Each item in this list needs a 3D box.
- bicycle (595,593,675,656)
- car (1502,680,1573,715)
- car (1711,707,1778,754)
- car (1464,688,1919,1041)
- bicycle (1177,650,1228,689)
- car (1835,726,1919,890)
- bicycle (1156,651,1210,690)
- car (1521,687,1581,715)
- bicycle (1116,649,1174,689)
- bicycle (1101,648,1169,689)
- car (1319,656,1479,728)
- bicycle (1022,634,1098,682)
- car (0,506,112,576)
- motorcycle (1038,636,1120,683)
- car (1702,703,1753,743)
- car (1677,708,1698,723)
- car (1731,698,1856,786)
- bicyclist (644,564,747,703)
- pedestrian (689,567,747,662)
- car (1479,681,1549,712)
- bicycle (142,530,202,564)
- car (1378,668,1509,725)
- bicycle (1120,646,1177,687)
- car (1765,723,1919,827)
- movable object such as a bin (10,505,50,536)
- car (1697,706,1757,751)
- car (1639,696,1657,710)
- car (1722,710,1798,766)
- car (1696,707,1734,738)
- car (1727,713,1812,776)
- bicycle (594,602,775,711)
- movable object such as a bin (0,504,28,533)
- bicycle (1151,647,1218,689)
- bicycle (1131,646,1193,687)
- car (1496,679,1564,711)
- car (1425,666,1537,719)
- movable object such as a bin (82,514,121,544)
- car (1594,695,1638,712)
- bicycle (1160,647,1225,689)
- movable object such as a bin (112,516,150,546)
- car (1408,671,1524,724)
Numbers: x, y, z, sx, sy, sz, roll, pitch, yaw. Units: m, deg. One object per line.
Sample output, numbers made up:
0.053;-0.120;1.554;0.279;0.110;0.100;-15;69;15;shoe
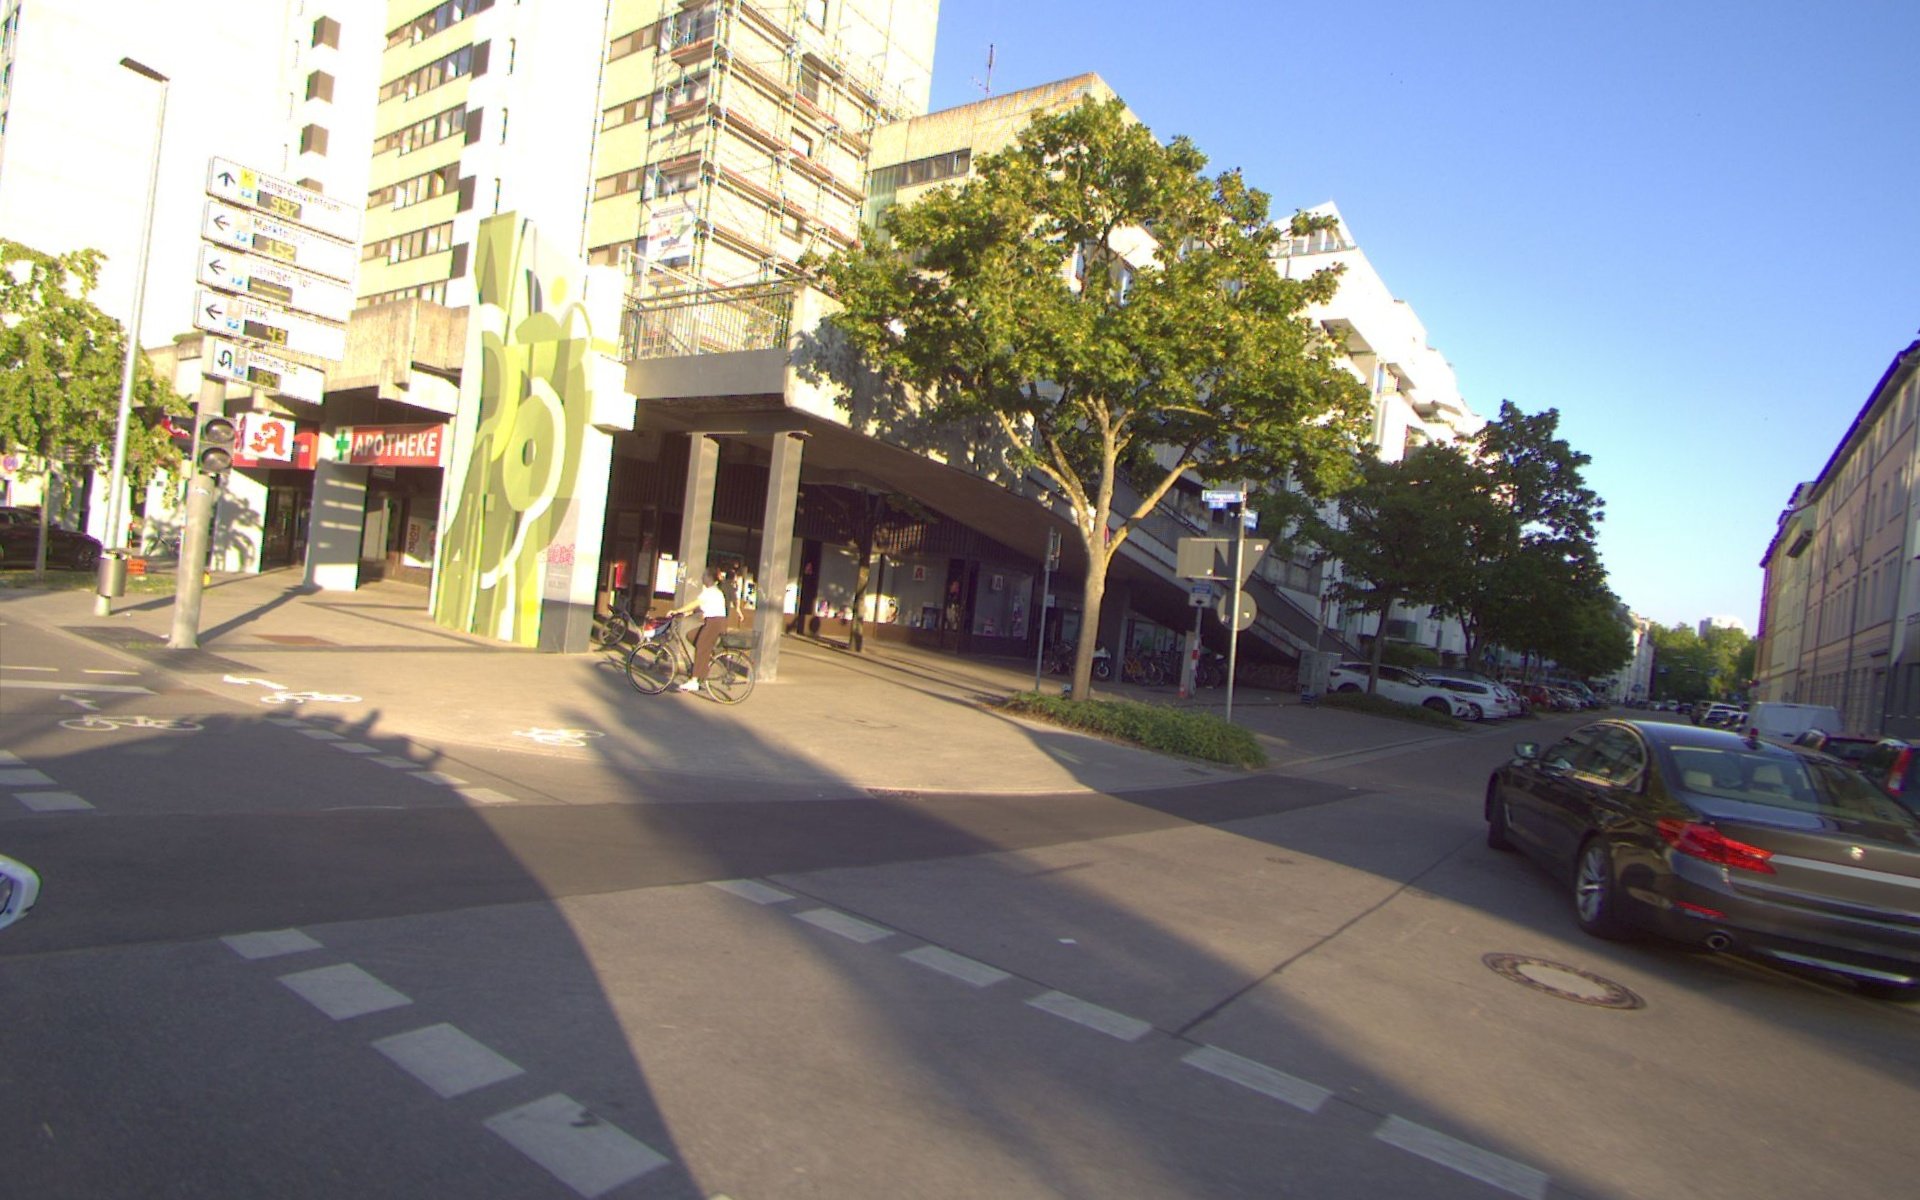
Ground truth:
-6.367;0.481;19.734;1.311;1.061;0.458;8;1;6;bicycle
37.121;6.274;64.741;3.721;1.621;1.441;6;-3;35;car
32.601;5.454;41.922;1.708;1.573;4.193;7;-3;34;car
5.413;1.647;7.652;1.772;1.487;4.624;8;0;15;car
8.447;2.402;35.040;1.539;1.143;0.649;7;1;24;bicycle
11.490;2.377;11.683;1.591;1.578;3.804;2;-3;36;car
7.303;2.286;32.927;1.539;1.051;0.649;7;1;24;bicycle
42.433;7.252;72.249;3.451;1.470;1.441;6;-3;35;car
5.529;2.064;30.097;1.542;0.963;0.484;7;1;32;bicycle
5.132;2.014;29.583;1.737;0.963;0.698;7;1;32;bicycle
14.793;3.100;34.024;4.554;1.711;1.750;6;-3;37;car
2.836;1.639;28.483;1.891;1.071;0.781;7;1;32;bicycle
-22.105;-1.395;22.952;1.781;1.472;4.601;6;1;-5;car
3.436;1.719;29.145;2.118;1.071;0.785;7;1;32;motorcycle
43.854;7.070;57.565;2.002;1.848;4.771;6;-3;36;car
93.642;14.861;129.563;2.002;1.539;4.390;6;-3;36;car
21.138;3.526;25.685;1.970;1.885;4.528;2;-4;34;car
-3.549;0.441;13.561;0.943;1.714;0.820;6;1;8;bicyclist
-4.750;0.277;19.801;0.685;1.774;0.724;7;3;13;pedestrian
33.640;5.830;61.093;3.481;1.336;1.441;6;-3;35;car
-28.118;-1.893;35.923;0.426;1.062;1.572;7;1;34;bicycle
18.033;3.588;37.576;4.111;1.477;1.752;7;-3;32;car
5.760;2.026;30.817;1.542;1.051;0.484;7;1;32;bicycle
16.363;3.139;18.633;1.630;1.457;4.221;2;-3;31;car
-45.018;-3.851;48.698;1.247;1.340;1.181;7;2;35;movable object such as a bin
38.885;6.538;51.100;2.126;1.848;4.771;6;-3;36;car
100.557;15.097;146.989;2.002;1.539;4.390;6;-3;36;car
27.068;4.614;34.146;1.580;1.504;4.238;5;-1;34;car
56.166;9.143;74.889;2.002;1.848;4.771;6;-3;36;car
24.263;4.287;30.263;1.581;1.504;3.989;5;-1;34;car
-3.694;0.737;13.583;2.107;1.188;0.820;6;1;8;bicycle
-48.502;-4.159;51.310;1.263;1.347;1.104;7;2;35;movable object such as a bin
7.716;2.321;34.546;2.045;1.143;0.649;7;1;24;bicycle
6.517;2.144;32.442;1.800;1.051;0.484;7;1;32;bicycle
35.619;5.943;62.899;3.481;1.476;1.441;6;-3;35;car
23.813;4.209;46.009;4.216;1.774;1.638;6;-3;35;car
-43.598;-3.617;51.089;1.107;1.329;1.182;7;0;35;movable object such as a bin
89.569;14.087;137.366;4.841;1.539;2.027;6;-3;40;car
7.796;2.262;33.754;1.914;1.143;0.649;7;1;24;bicycle
-42.911;-3.567;52.080;1.071;1.329;1.182;7;0;35;movable object such as a bin
20.872;4.008;41.549;3.968;1.553;1.639;6;-3;35;car
